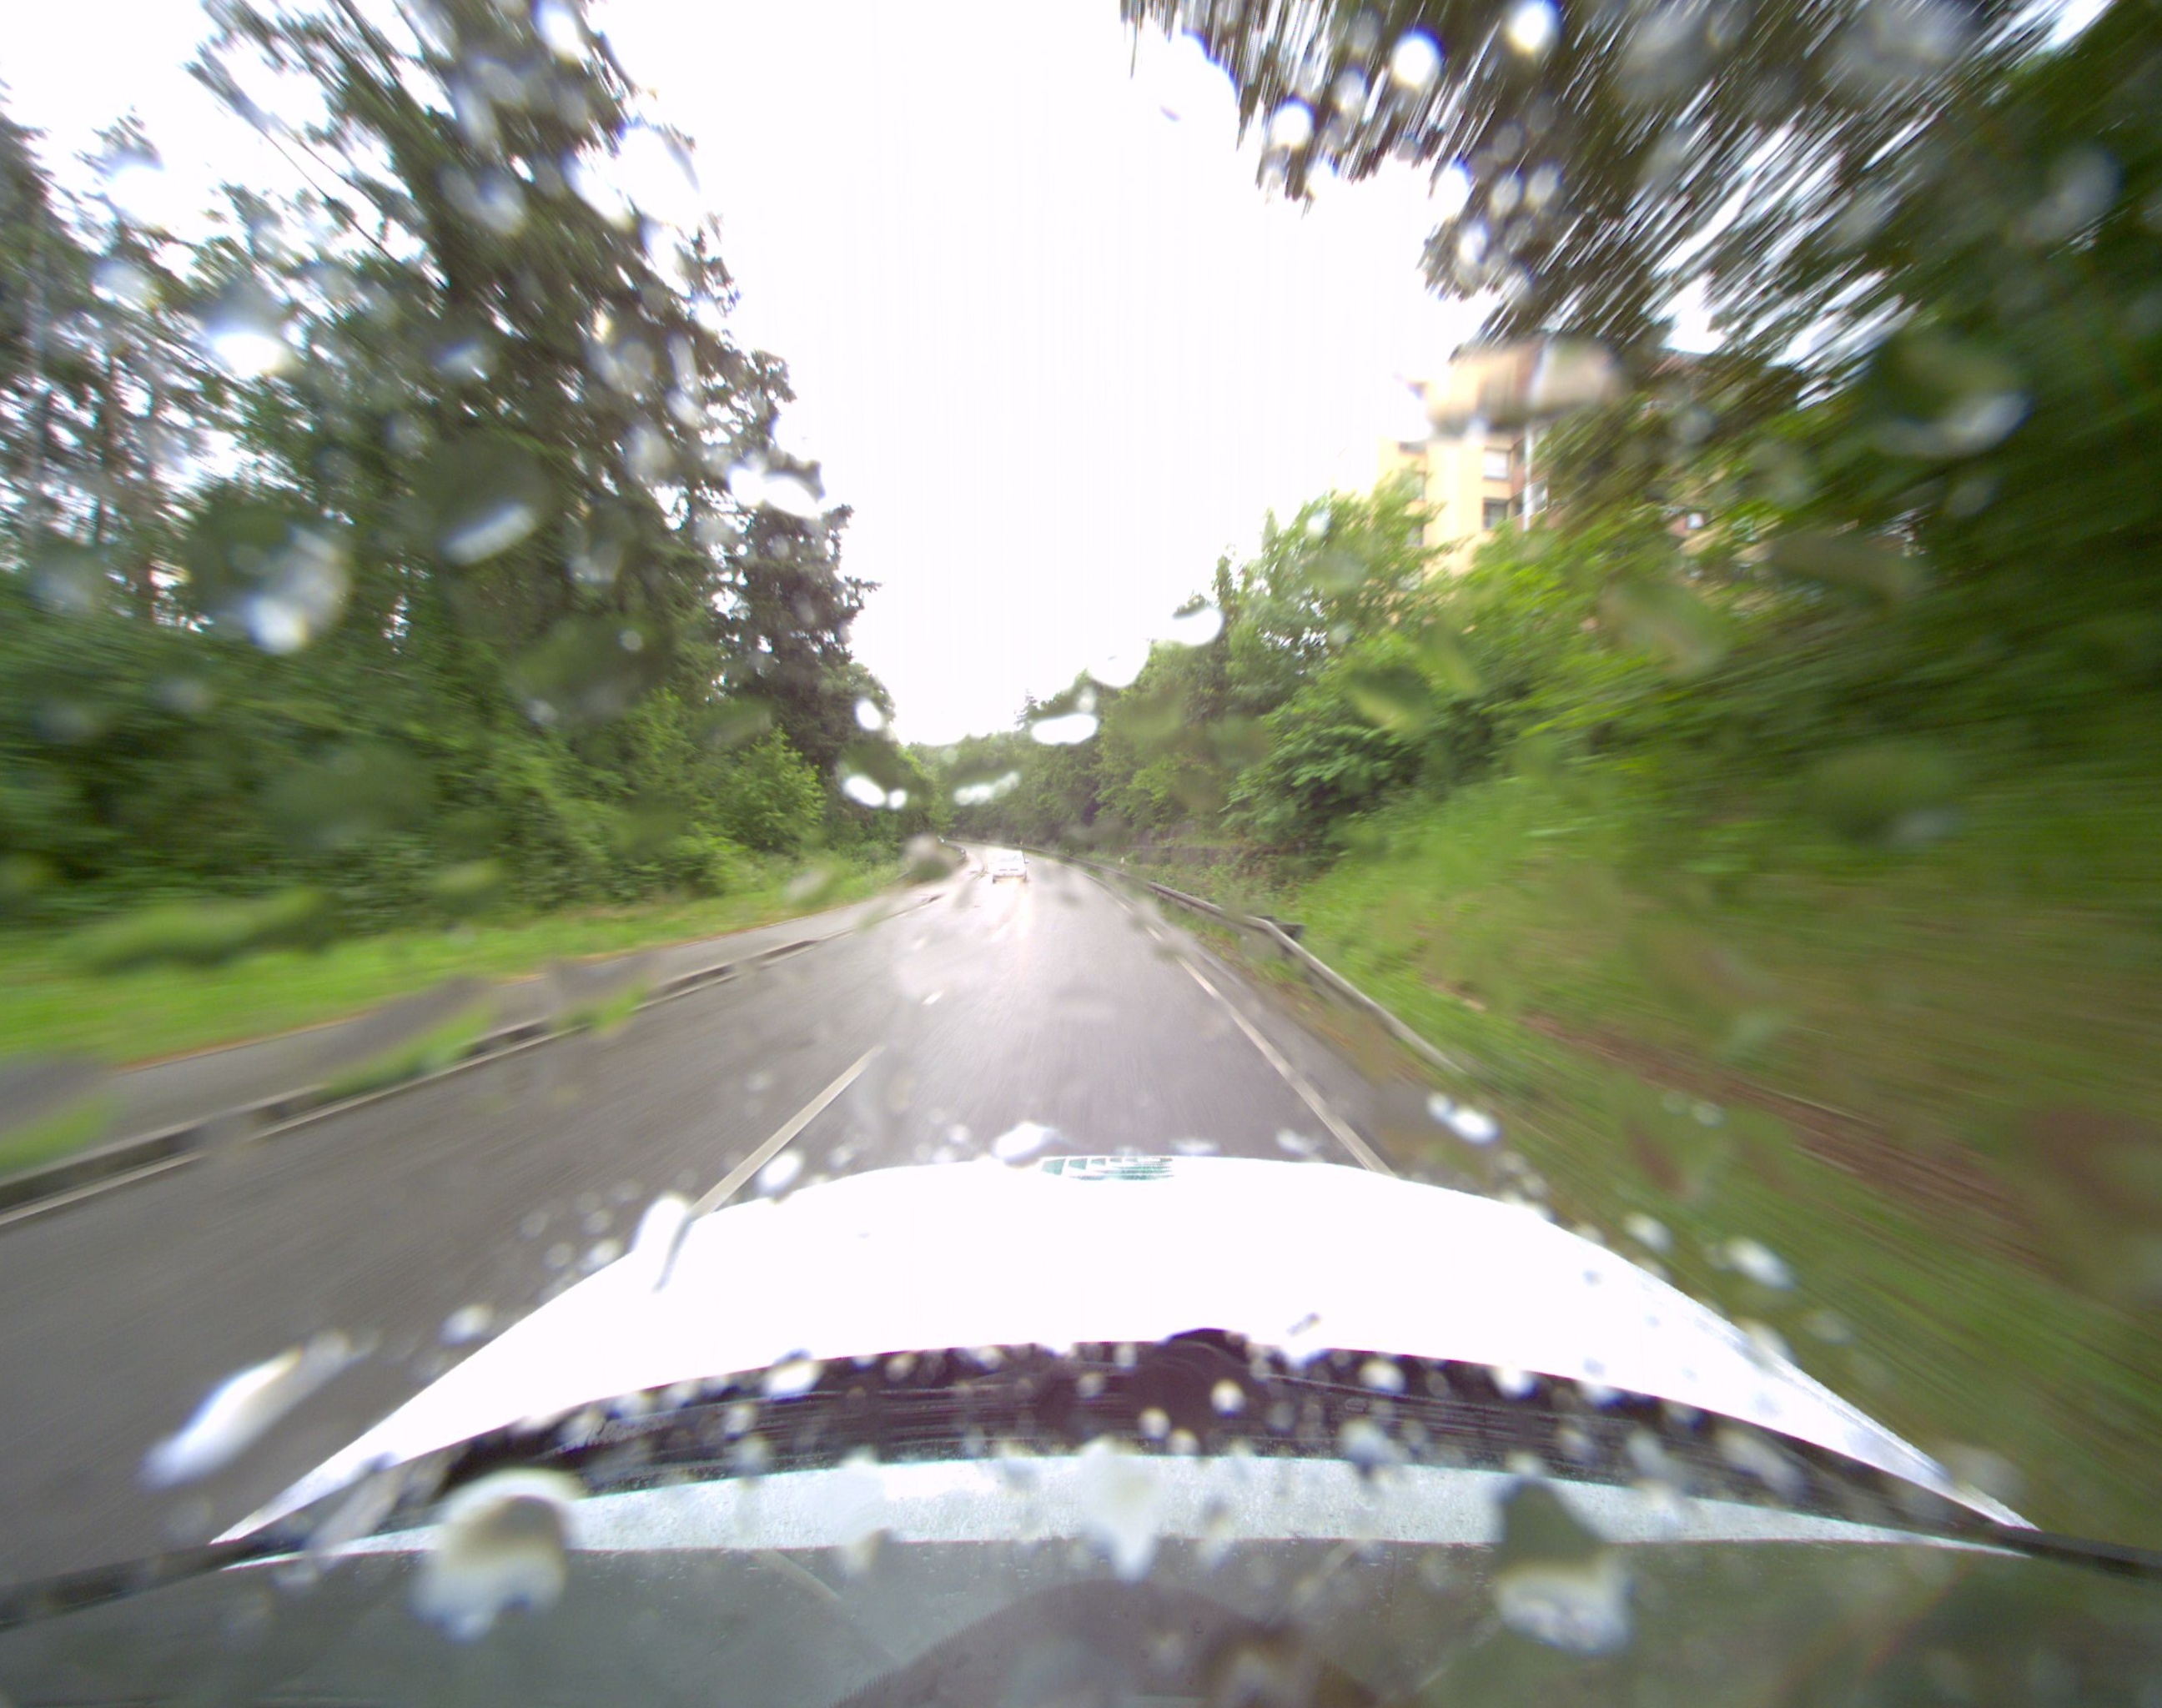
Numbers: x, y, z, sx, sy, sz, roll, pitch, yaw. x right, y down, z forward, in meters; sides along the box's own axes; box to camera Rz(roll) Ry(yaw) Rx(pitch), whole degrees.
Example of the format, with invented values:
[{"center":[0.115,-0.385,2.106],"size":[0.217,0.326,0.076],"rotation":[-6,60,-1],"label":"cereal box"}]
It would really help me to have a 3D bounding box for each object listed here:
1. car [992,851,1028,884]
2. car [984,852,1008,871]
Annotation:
[{"center":[-3.836,0.699,44.063],"size":[1.811,1.648,4.124],"rotation":[-1,0,-5],"label":"car"},{"center":[-6.756,0.582,64.976],"size":[1.812,1.434,3.991],"rotation":[1,0,-6],"label":"car"}]
